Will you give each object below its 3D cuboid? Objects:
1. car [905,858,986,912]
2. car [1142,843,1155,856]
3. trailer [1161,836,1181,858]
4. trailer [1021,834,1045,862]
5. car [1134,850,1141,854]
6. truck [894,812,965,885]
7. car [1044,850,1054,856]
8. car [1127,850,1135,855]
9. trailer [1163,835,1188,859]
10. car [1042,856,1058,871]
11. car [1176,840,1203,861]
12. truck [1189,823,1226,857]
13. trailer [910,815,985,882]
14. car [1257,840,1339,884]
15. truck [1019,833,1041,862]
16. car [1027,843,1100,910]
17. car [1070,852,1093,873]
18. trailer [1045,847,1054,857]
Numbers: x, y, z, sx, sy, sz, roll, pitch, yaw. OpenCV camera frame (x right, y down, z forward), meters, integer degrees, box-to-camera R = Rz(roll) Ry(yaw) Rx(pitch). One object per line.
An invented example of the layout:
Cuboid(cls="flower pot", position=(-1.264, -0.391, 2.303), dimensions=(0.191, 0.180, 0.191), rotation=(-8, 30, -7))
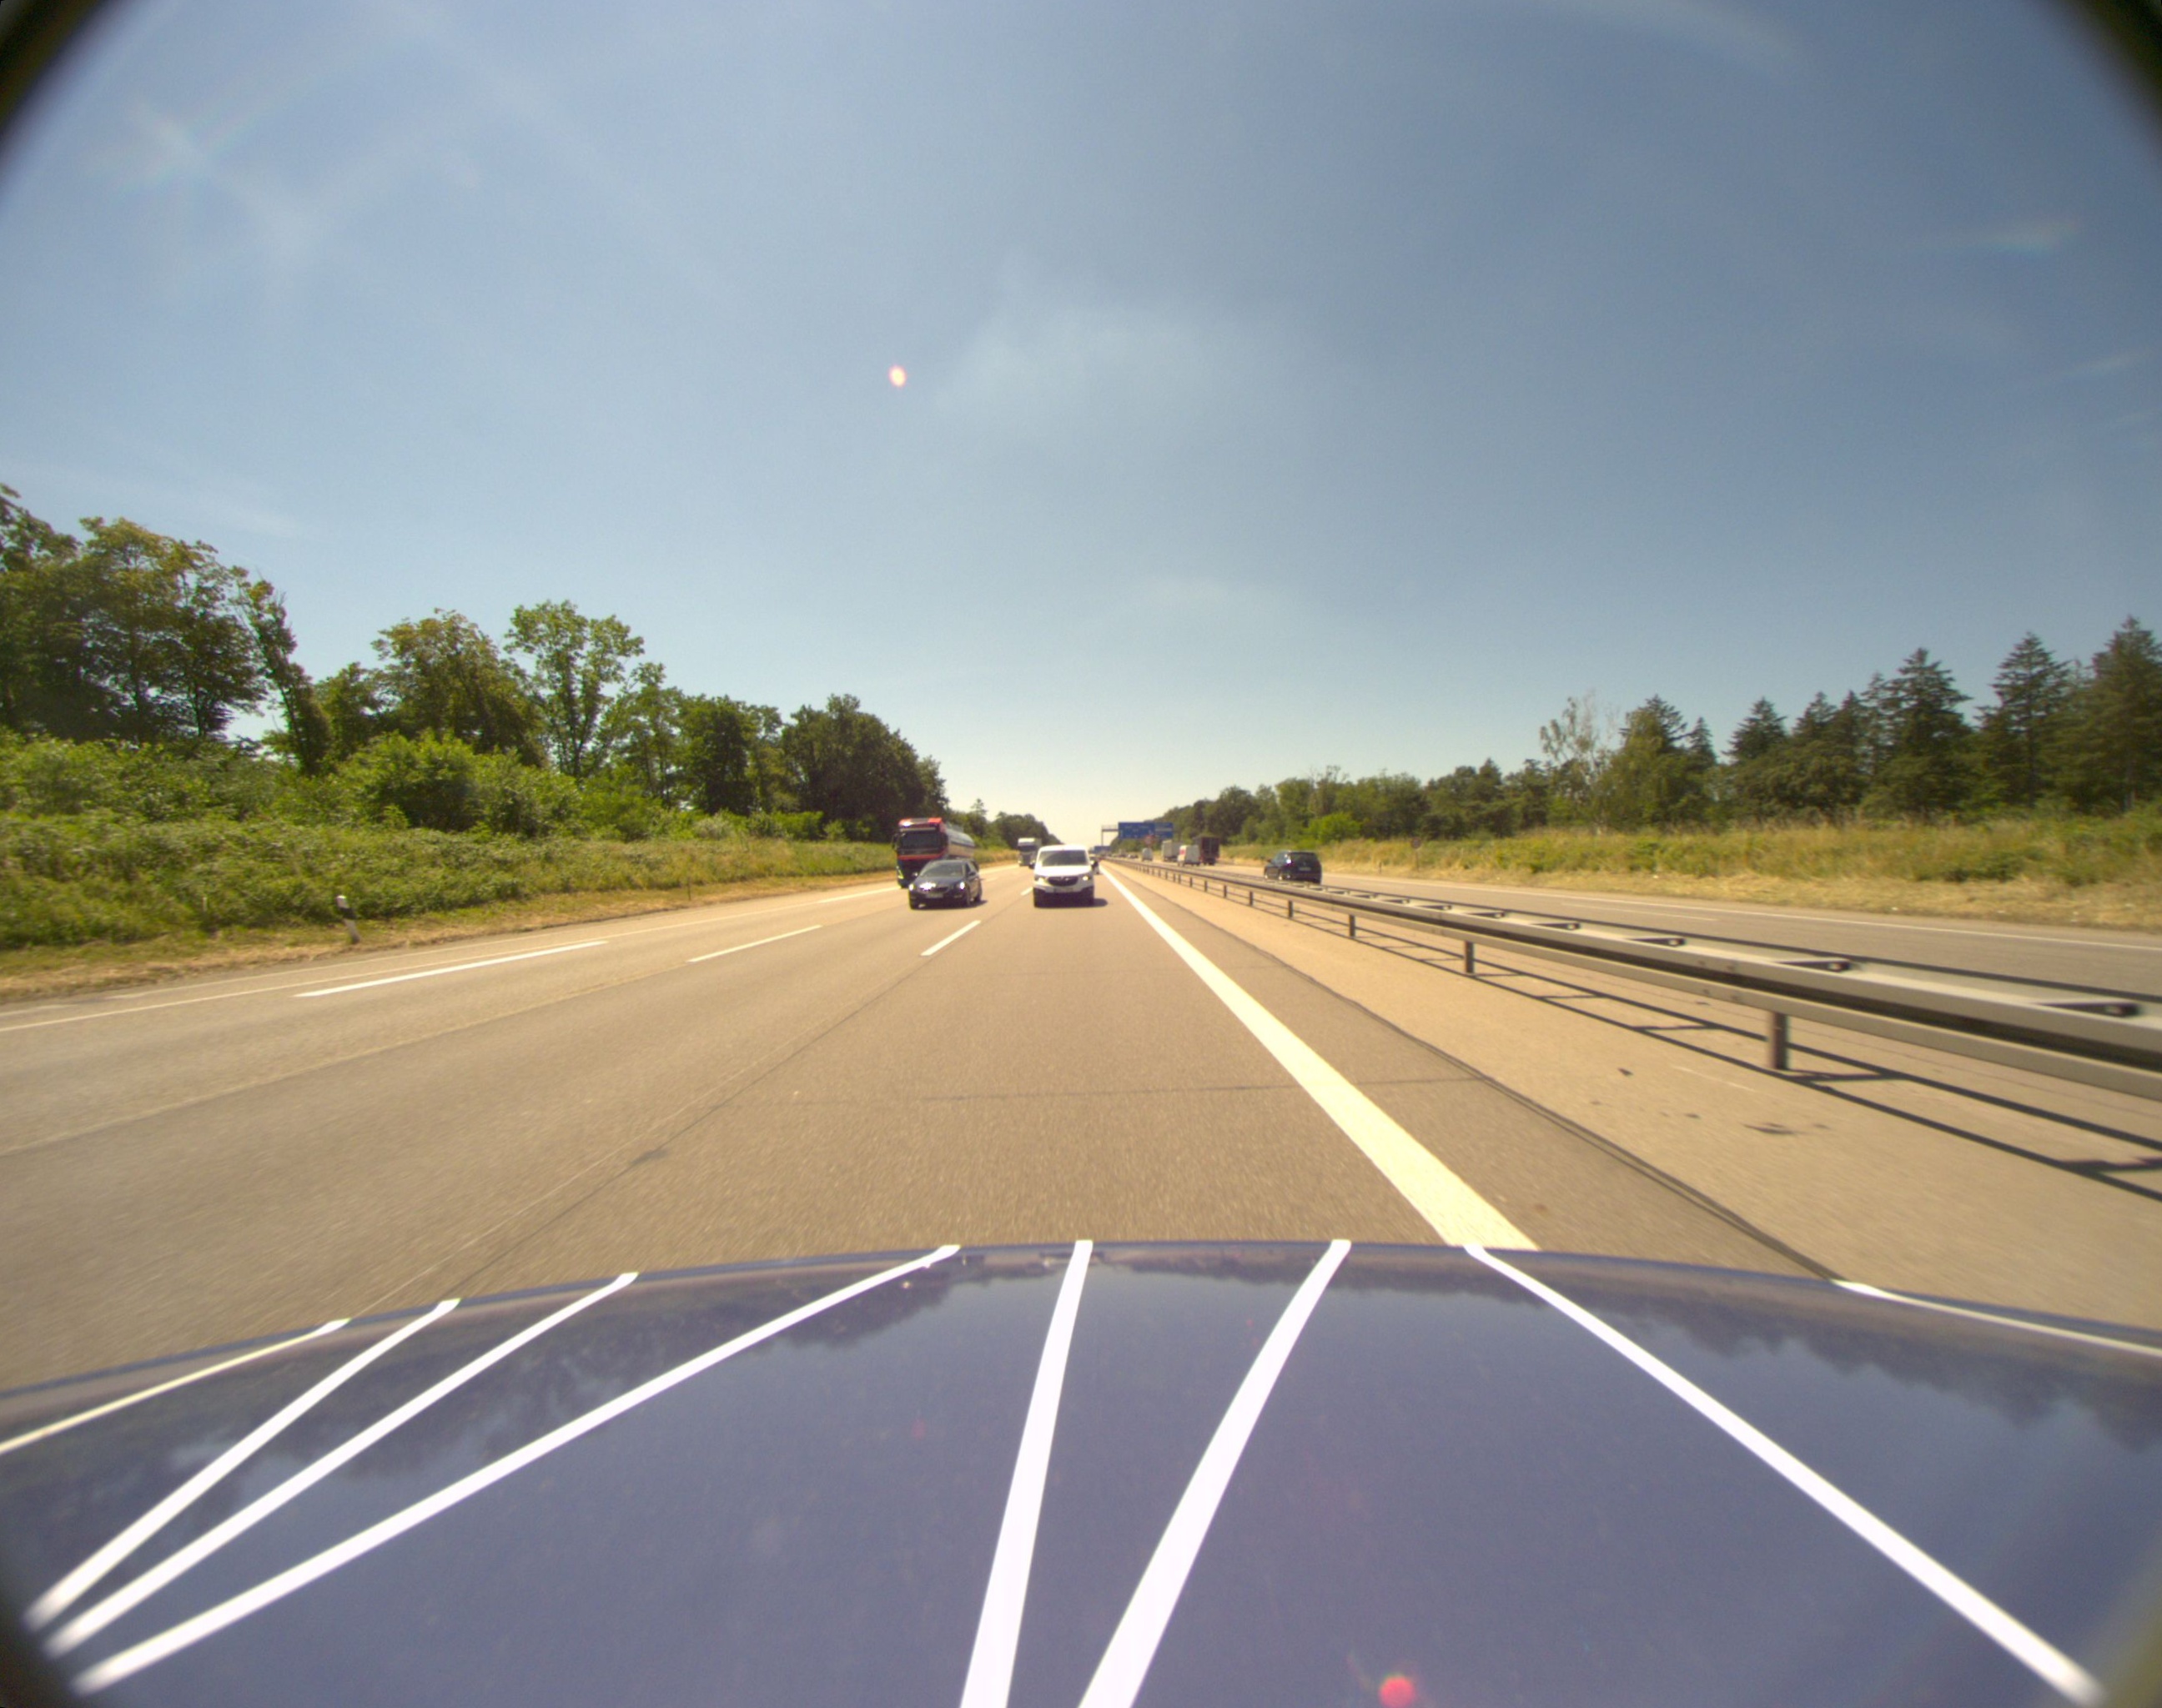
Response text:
Cuboid(cls="car", position=(-4.246, 0.921, 24.473), dimensions=(1.806, 1.475, 4.271), rotation=(-2, 0, 0))
Cuboid(cls="car", position=(14.009, -1.007, 158.015), dimensions=(1.998, 2.555, 6.389), rotation=(1, 0, 1))
Cuboid(cls="trailer", position=(17.960, -1.416, 152.044), dimensions=(3.163, 4.174, 6.325), rotation=(1, 1, 1))
Cuboid(cls="trailer", position=(-7.373, -0.966, 118.529), dimensions=(2.603, 3.980, 14.079), rotation=(-2, 0, 0))
Cuboid(cls="car", position=(19.148, -0.617, 259.069), dimensions=(1.967, 1.516, 5.289), rotation=(1, 0, 0))
Cuboid(cls="truck", position=(-8.313, -0.305, 42.517), dimensions=(2.535, 3.712, 6.098), rotation=(-2, 1, 1))
Cuboid(cls="car", position=(-7.110, -0.148, 168.260), dimensions=(1.845, 1.275, 3.352), rotation=(-2, 0, 0))
Cuboid(cls="car", position=(14.783, -0.395, 223.103), dimensions=(1.967, 1.420, 5.289), rotation=(1, 0, 0))
Cuboid(cls="trailer", position=(17.885, -1.317, 144.980), dimensions=(3.163, 4.174, 14.124), rotation=(1, 0, 1))
Cuboid(cls="car", position=(-4.405, 1.322, 107.154), dimensions=(1.998, 2.002, 4.000), rotation=(-2, 0, 0))
Cuboid(cls="car", position=(13.542, -0.471, 95.632), dimensions=(2.370, 2.434, 7.132), rotation=(1, 0, 0))
Cuboid(cls="truck", position=(18.289, -1.975, 110.448), dimensions=(3.385, 4.598, 12.186), rotation=(1, 1, 1))
Cuboid(cls="trailer", position=(-8.253, -0.345, 48.579), dimensions=(2.535, 3.712, 11.548), rotation=(-2, 0, 1))
Cuboid(cls="car", position=(10.199, 0.348, 36.181), dimensions=(2.370, 1.884, 5.224), rotation=(1, 0, 0))
Cuboid(cls="truck", position=(-7.409, -0.920, 111.419), dimensions=(2.603, 3.980, 6.173), rotation=(-2, 1, 0))
Cuboid(cls="car", position=(-0.431, 0.606, 23.650), dimensions=(1.870, 1.807, 4.941), rotation=(-2, 0, 3))
Cuboid(cls="car", position=(0.050, 0.621, 55.254), dimensions=(1.581, 1.412, 3.352), rotation=(-2, 0, 0))
Cuboid(cls="trailer", position=(-7.092, -0.527, 171.527), dimensions=(1.849, 2.196, 3.197), rotation=(-2, 1, 0))
